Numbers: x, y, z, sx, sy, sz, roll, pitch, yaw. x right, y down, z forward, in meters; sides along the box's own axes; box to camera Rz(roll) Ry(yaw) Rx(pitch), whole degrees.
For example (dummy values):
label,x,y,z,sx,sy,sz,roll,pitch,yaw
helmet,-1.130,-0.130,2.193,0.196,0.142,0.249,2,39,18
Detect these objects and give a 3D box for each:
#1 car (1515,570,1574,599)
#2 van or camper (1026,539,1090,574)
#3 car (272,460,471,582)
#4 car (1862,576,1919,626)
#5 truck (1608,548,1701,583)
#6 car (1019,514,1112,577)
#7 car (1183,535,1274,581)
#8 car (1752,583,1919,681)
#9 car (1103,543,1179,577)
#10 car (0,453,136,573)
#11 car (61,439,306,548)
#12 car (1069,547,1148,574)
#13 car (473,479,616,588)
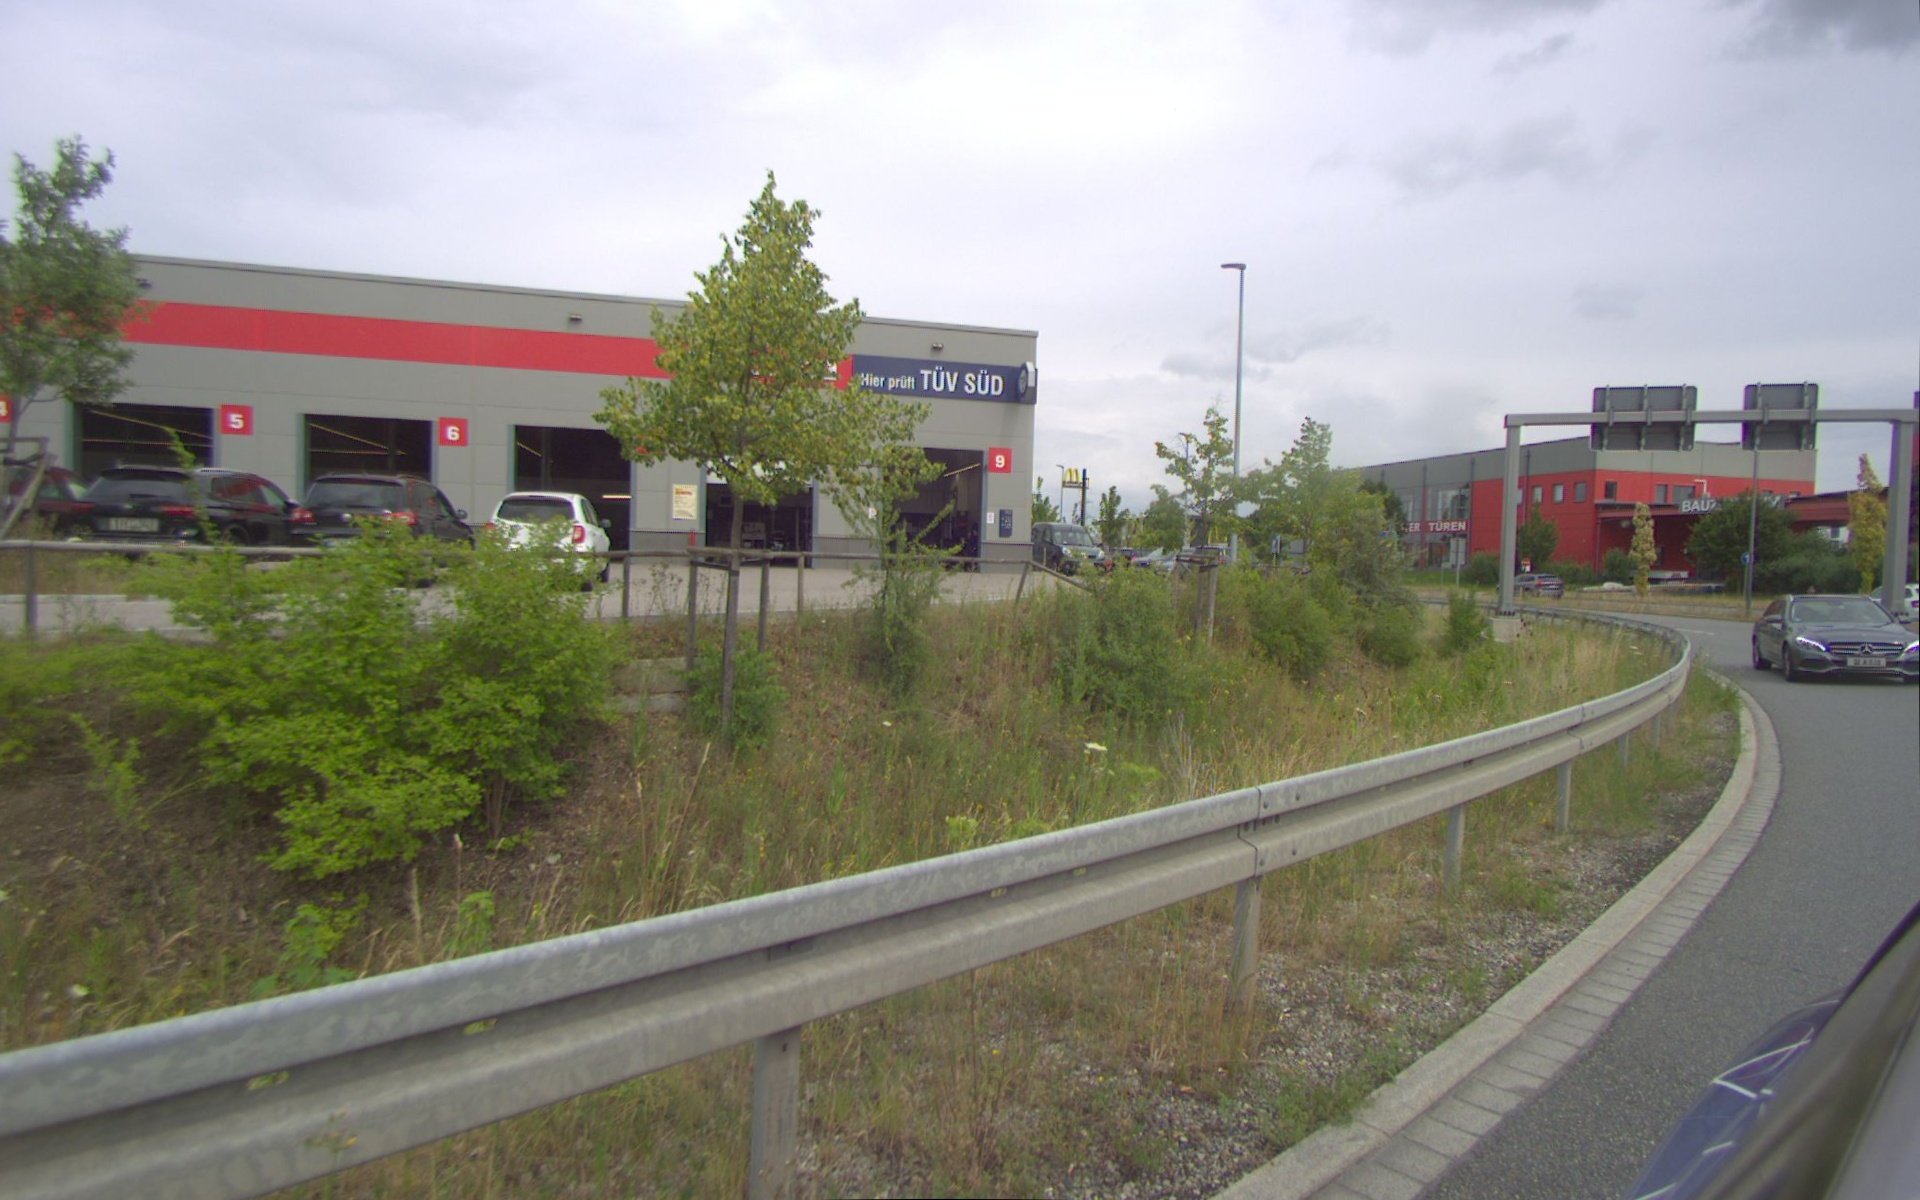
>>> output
label,x,y,z,sx,sy,sz,roll,pitch,yaw
car,35.735,-0.982,62.020,1.788,1.650,4.669,-1,1,13
van or camper,5.984,-2.579,61.159,1.802,2.022,4.617,1,2,35
car,-9.036,-1.153,15.844,1.695,1.655,3.453,1,2,-12
car,33.025,0.027,34.475,1.697,1.654,4.246,1,2,16
truck,51.555,-2.602,75.299,1.997,2.518,5.921,-1,3,-12
car,3.393,-1.783,33.221,1.669,1.833,3.980,3,2,-14
car,11.227,-1.758,42.178,4.101,1.804,1.800,-4,3,-43
car,15.606,0.478,17.891,1.891,1.516,4.293,-1,0,30
car,9.102,-2.030,50.883,3.727,1.537,1.691,-5,5,-38
car,-13.871,-1.184,14.796,1.641,1.557,3.893,0,1,-20
car,-11.493,-1.503,15.269,1.609,1.351,3.453,1,2,-12
car,8.293,-2.199,56.435,4.505,1.417,1.703,-1,4,-38
car,-6.753,-1.116,16.770,1.609,1.556,3.638,1,4,-13
